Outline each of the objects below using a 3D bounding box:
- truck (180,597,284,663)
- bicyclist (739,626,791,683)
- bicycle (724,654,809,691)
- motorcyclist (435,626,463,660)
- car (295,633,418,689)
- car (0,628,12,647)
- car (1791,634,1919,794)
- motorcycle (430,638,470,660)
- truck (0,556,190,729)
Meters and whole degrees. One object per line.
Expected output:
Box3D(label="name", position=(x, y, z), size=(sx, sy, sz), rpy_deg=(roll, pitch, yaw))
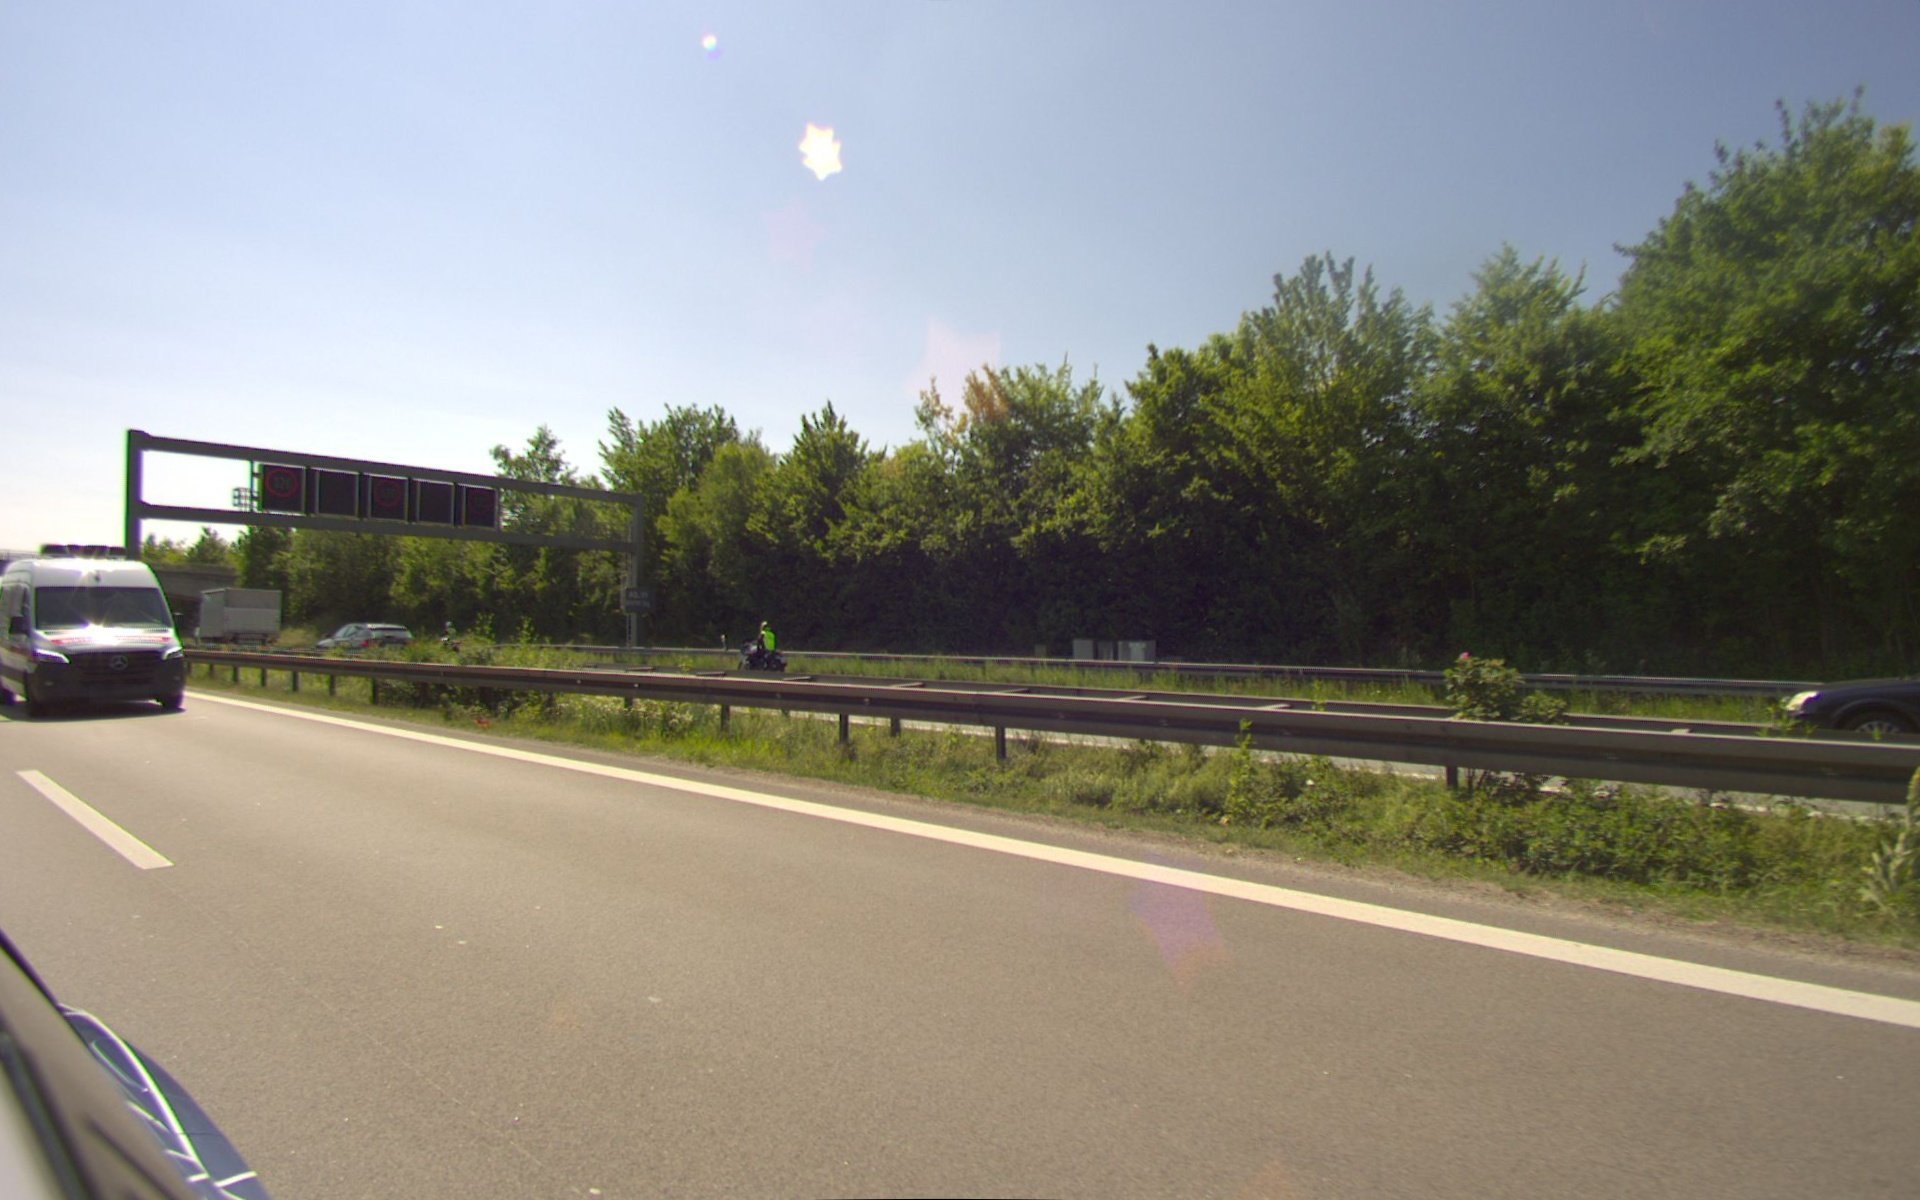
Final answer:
Box3D(label="truck", position=(-39.846, 1.580, 55.262), size=(8.053, 3.330, 2.750), rpy_deg=(0, -2, 41))
Box3D(label="bicyclist", position=(-5.647, 1.555, 29.280), size=(1.286, 1.588, 0.871), rpy_deg=(-1, -2, 41))
Box3D(label="bicycle", position=(-5.612, 2.063, 29.219), size=(2.732, 0.923, 0.892), rpy_deg=(0, -2, 41))
Box3D(label="motorcyclist", position=(-22.565, 1.896, 44.698), size=(0.931, 1.511, 0.797), rpy_deg=(-2, -3, 41))
Box3D(label="car", position=(-18.916, 1.856, 31.646), size=(4.590, 1.610, 1.973), rpy_deg=(-1, -2, 41))
Box3D(label="car", position=(-88.964, 3.415, 93.165), size=(5.194, 1.720, 1.886), rpy_deg=(-1, -5, 41))
Box3D(label="car", position=(11.183, 1.140, 9.985), size=(4.555, 1.597, 1.847), rpy_deg=(-2, -3, 41))
Box3D(label="motorcycle", position=(-22.518, 2.140, 44.672), size=(2.221, 0.953, 0.797), rpy_deg=(-1, -3, 41))
Box3D(label="truck", position=(-15.676, 0.713, 17.918), size=(6.688, 2.561, 1.973), rpy_deg=(-2, -1, 41))
